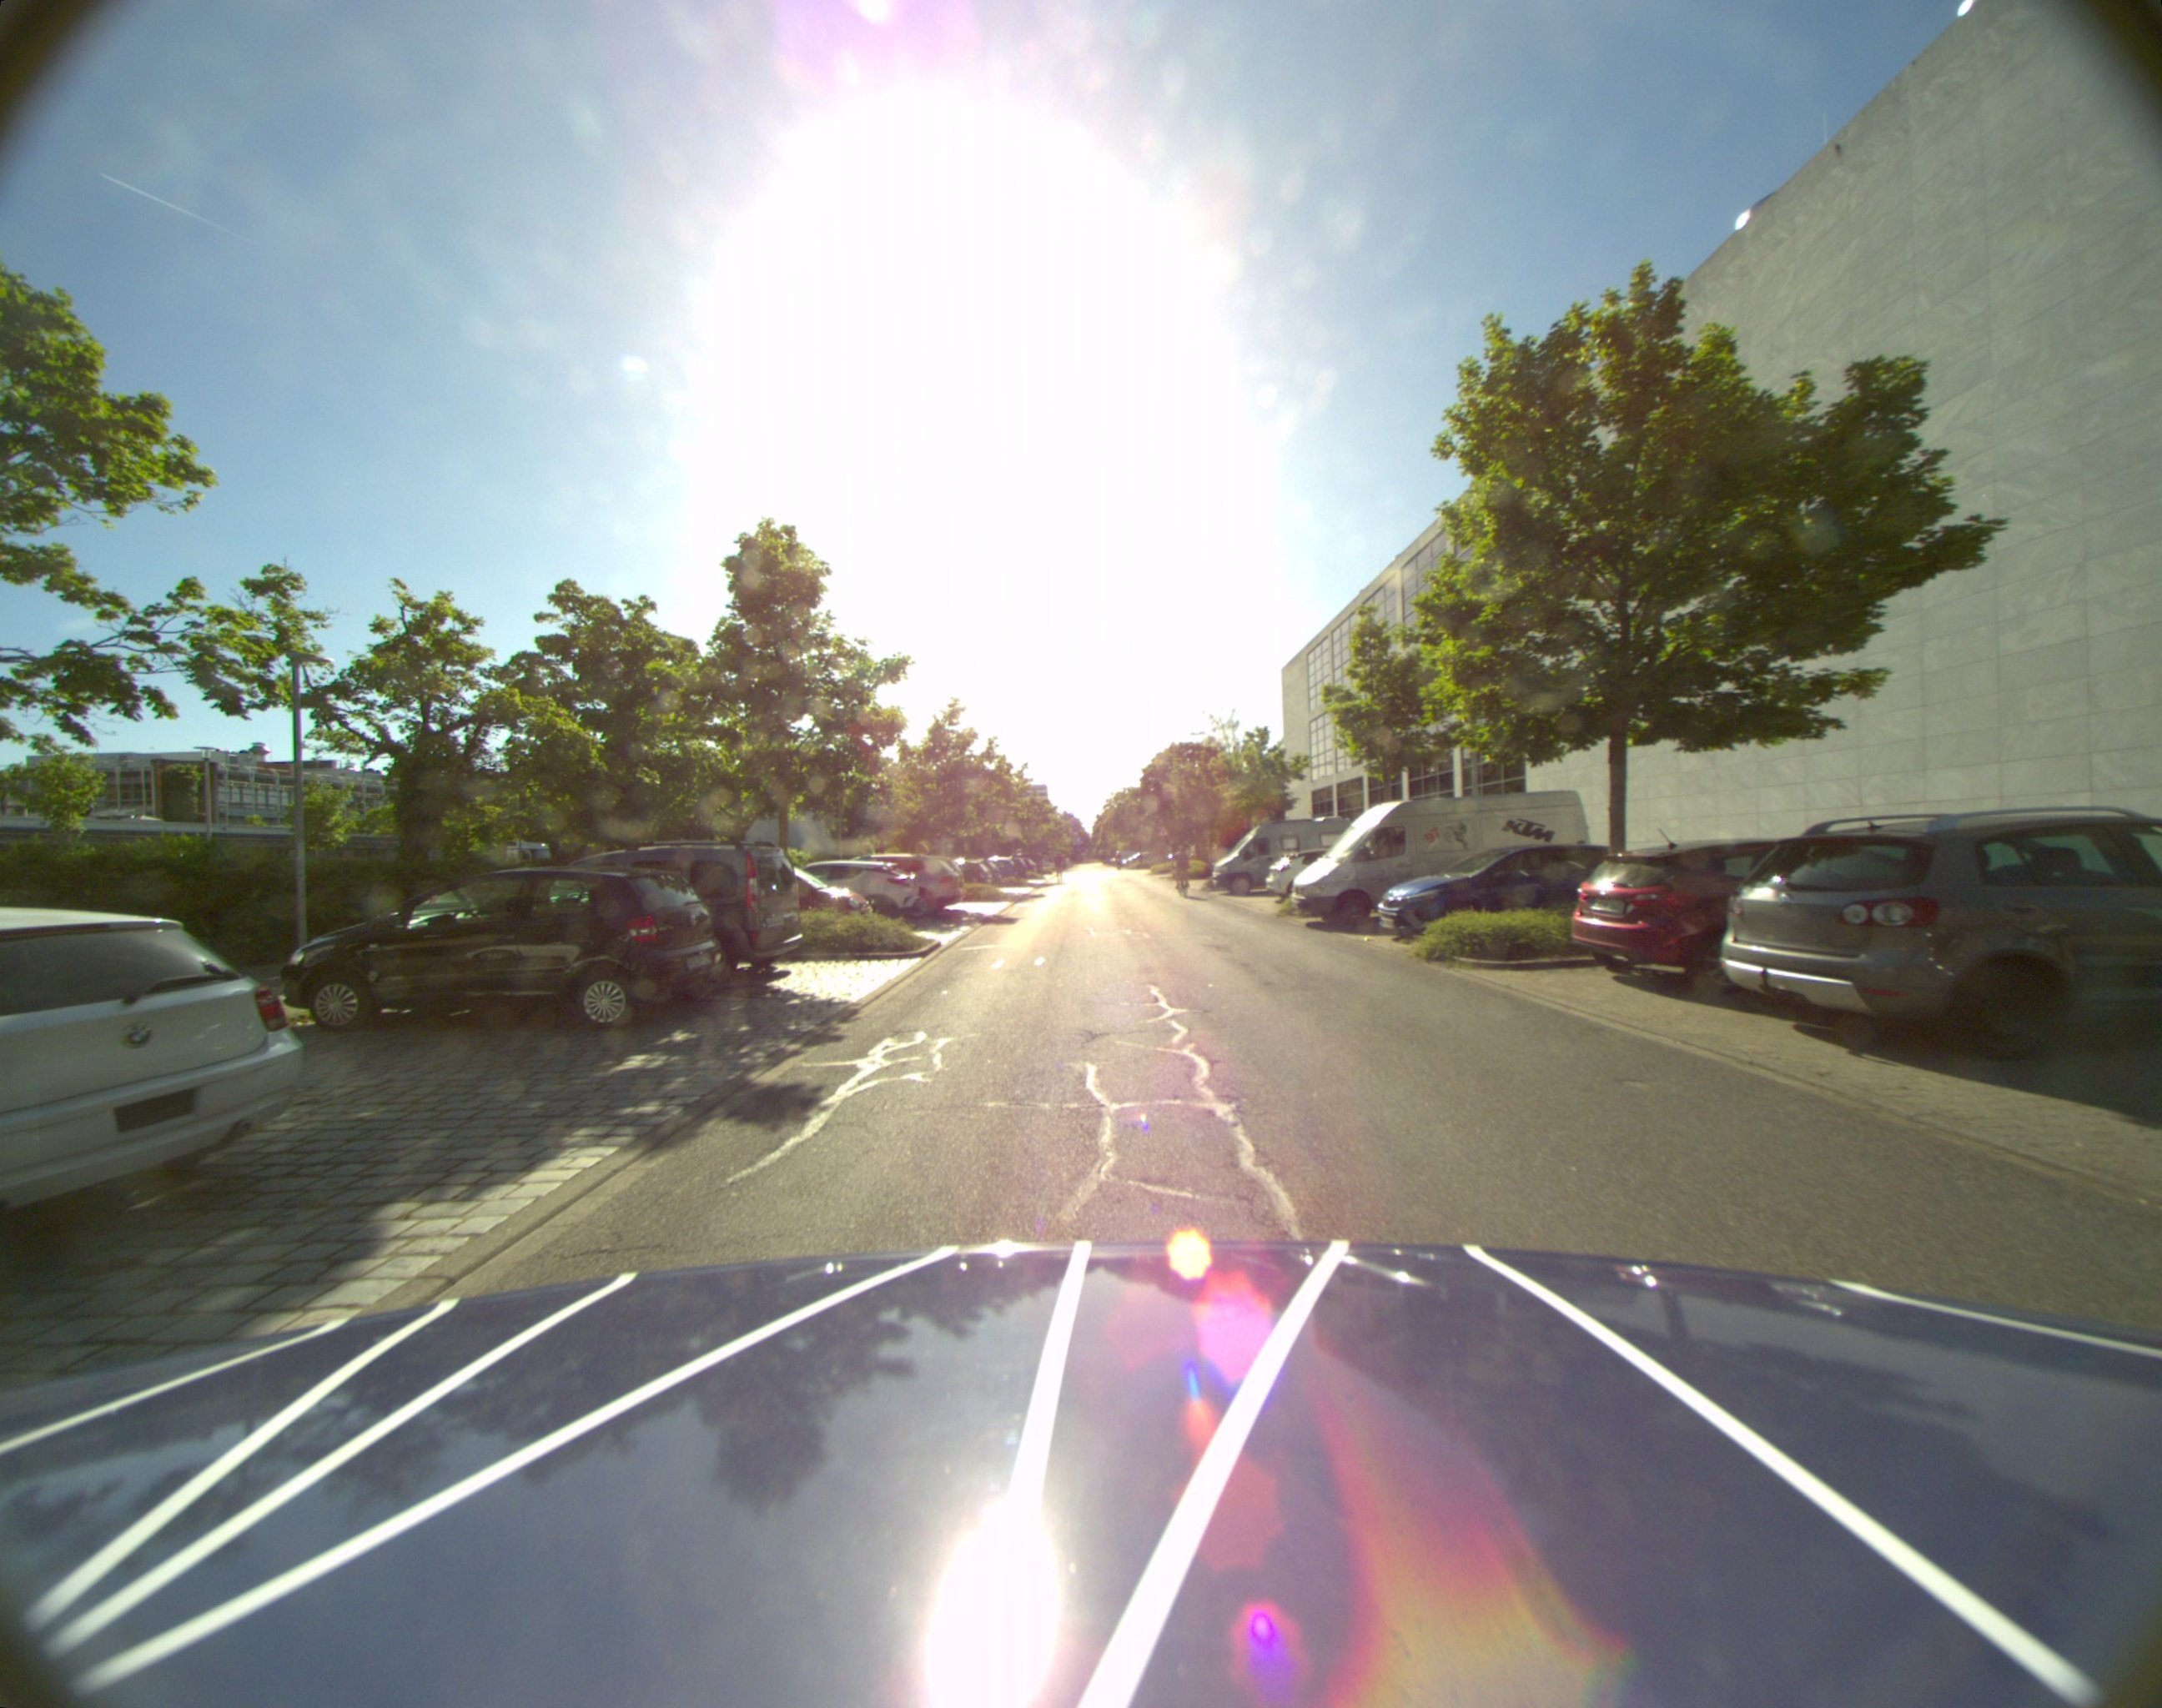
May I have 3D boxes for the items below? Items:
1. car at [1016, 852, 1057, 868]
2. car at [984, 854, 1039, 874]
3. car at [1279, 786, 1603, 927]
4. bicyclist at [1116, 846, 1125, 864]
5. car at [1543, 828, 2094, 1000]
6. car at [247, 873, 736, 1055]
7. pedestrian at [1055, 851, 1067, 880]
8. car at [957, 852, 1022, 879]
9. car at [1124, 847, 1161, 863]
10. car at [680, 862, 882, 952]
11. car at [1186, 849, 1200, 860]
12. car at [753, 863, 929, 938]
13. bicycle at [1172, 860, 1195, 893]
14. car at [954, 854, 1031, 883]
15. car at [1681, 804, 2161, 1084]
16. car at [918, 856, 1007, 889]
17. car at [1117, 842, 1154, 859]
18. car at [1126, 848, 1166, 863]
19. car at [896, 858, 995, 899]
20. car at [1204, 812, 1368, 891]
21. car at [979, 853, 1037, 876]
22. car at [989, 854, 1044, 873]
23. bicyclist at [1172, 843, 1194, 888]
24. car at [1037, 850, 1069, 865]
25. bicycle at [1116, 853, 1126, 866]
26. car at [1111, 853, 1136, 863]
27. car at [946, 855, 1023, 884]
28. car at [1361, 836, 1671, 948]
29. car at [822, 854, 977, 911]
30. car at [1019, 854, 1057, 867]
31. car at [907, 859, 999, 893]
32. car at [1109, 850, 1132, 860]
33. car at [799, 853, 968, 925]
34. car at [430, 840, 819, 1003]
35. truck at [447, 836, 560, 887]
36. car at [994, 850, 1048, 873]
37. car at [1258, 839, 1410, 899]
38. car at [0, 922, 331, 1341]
[{"bbox_3d":[-4.656,0.583,79.947,4.165,1.589,1.829,-1,1,-1],"label":"car"},{"bbox_3d":[-5.065,0.745,55.823,3.909,1.428,1.808,0,0,-1],"label":"car"},{"bbox_3d":[7.159,0.052,15.604,5.564,2.396,1.988,-3,0,2],"label":"car"},{"bbox_3d":[3.281,0.071,62.935,0.759,1.423,1.132,0,1,2],"label":"bicyclist"},{"bbox_3d":[7.469,0.563,8.054,3.996,1.508,1.855,-2,1,1],"label":"car"},{"bbox_3d":[-5.744,1.018,7.772,3.615,1.540,1.707,-1,-1,-1],"label":"car"},{"bbox_3d":[-1.242,0.724,47.666,0.721,1.761,1.168,0,1,-1],"label":"pedestrian"},{"bbox_3d":[-5.776,0.748,48.423,3.909,1.568,1.680,-1,-1,-1],"label":"car"},{"bbox_3d":[8.053,0.166,100.137,4.633,1.979,2.000,-2,-1,0],"label":"car"},{"bbox_3d":[-5.790,0.988,14.994,3.374,1.521,1.599,-1,1,-8],"label":"car"},{"bbox_3d":[16.536,0.041,112.462,1.833,1.605,4.145,0,0,5],"label":"car"},{"bbox_3d":[-5.377,1.015,17.401,3.507,1.521,1.737,-1,-1,-4],"label":"car"},{"bbox_3d":[3.599,0.775,26.834,0.699,1.104,2.080,0,1,5],"label":"bicycle"},{"bbox_3d":[-4.996,0.807,43.289,4.197,1.511,1.736,-1,0,-1],"label":"car"},{"bbox_3d":[7.261,0.523,5.663,3.996,1.654,1.828,-3,1,4],"label":"car"},{"bbox_3d":[-5.671,0.864,36.678,3.904,1.489,1.842,-1,0,2],"label":"car"},{"bbox_3d":[7.932,-0.538,110.680,5.132,2.364,2.000,-2,-1,0],"label":"car"},{"bbox_3d":[7.864,0.178,92.477,4.684,1.398,1.829,-4,0,2],"label":"car"},{"bbox_3d":[-5.137,0.915,29.174,3.462,1.480,1.746,-1,1,-1],"label":"car"},{"bbox_3d":[7.291,-0.083,27.489,5.261,2.404,2.123,-4,1,2],"label":"car"},{"bbox_3d":[-5.024,0.697,52.656,3.909,1.418,1.672,-1,1,-1],"label":"car"},{"bbox_3d":[-4.949,0.706,58.649,4.165,1.398,1.829,0,1,-1],"label":"car"},{"bbox_3d":[3.588,0.400,26.775,0.685,1.572,1.061,0,1,5],"label":"bicyclist"},{"bbox_3d":[-3.745,0.512,103.390,4.257,2.020,1.973,0,1,-1],"label":"car"},{"bbox_3d":[3.296,0.451,62.977,0.759,0.996,1.872,0,0,2],"label":"bicycle"},{"bbox_3d":[7.956,0.748,142.455,4.562,1.819,2.000,-2,-1,0],"label":"car"},{"bbox_3d":[-5.140,0.836,40.847,3.909,1.459,1.621,-1,-1,-1],"label":"car"},{"bbox_3d":[6.860,0.570,12.326,3.942,1.476,1.785,-3,1,2],"label":"car"},{"bbox_3d":[-5.493,0.843,23.408,4.332,1.598,1.911,-1,1,-3],"label":"car"},{"bbox_3d":[-4.754,0.683,84.636,4.165,1.398,1.829,0,1,-1],"label":"car"},{"bbox_3d":[-5.687,0.968,34.116,3.741,1.408,1.842,-1,0,2],"label":"car"},{"bbox_3d":[7.937,0.252,154.013,4.562,1.819,2.000,-2,-1,0],"label":"car"},{"bbox_3d":[-5.094,0.893,19.985,3.909,1.685,1.940,-1,-1,-1],"label":"car"},{"bbox_3d":[-6.043,0.856,10.505,4.129,1.916,1.978,-1,-1,-1],"label":"car"},{"bbox_3d":[-45.980,0.613,60.627,6.917,3.784,2.812,-2,-1,2],"label":"truck"},{"bbox_3d":[-4.858,0.616,61.863,4.165,1.836,1.880,0,1,1],"label":"car"},{"bbox_3d":[7.357,0.434,22.383,3.839,1.463,1.848,-4,0,3],"label":"car"},{"bbox_3d":[-5.984,1.088,3.143,4.071,1.417,1.742,0,1,2],"label":"car"}]
